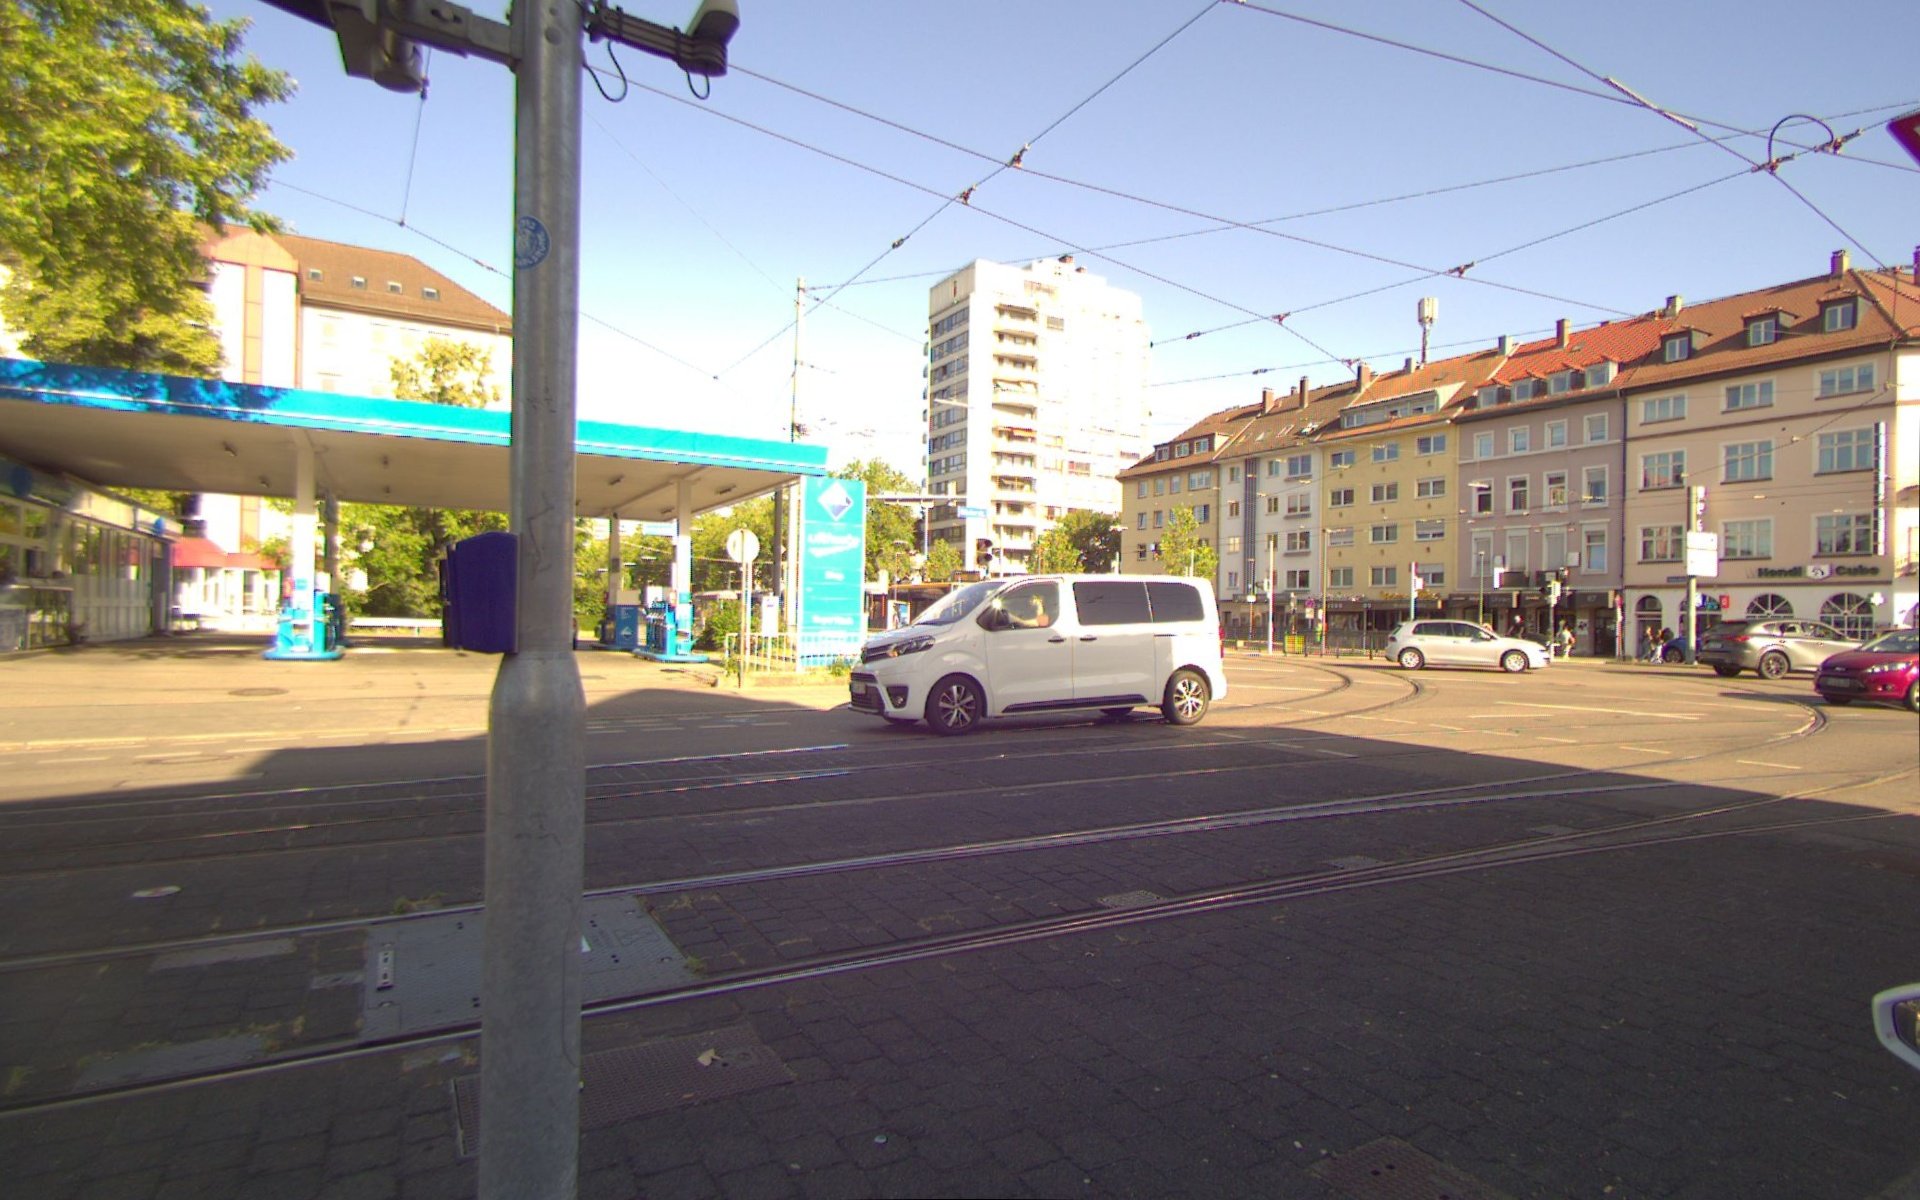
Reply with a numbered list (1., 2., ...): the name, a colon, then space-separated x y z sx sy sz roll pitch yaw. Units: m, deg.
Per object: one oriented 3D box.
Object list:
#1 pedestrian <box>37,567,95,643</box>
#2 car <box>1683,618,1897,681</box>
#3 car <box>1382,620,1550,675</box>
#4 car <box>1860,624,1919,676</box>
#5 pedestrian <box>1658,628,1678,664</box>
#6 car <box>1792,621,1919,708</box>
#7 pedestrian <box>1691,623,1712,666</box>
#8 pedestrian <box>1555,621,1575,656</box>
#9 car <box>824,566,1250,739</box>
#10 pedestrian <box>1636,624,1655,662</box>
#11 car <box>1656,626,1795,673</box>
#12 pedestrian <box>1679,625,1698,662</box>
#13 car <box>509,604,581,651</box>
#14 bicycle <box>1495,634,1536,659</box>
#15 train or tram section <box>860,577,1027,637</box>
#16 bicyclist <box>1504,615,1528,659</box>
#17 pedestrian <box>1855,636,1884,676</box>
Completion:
1. pedestrian: -20.876 0.137 23.477 0.838 1.724 0.644 2 -3 -31
2. car: 22.953 1.345 27.896 4.365 1.623 1.875 1 -1 1
3. car: 14.317 1.295 28.481 4.153 1.408 1.731 0 -1 31
4. car: 29.972 1.550 31.739 3.887 1.523 1.769 1 -1 -40
5. pedestrian: 30.906 2.004 43.858 0.550 1.512 0.489 2 0 -30
6. car: 17.310 1.123 17.874 3.807 1.445 1.595 1 0 -4
7. pedestrian: 32.139 1.923 43.542 0.670 1.847 0.523 2 0 -37
8. pedestrian: 29.816 1.899 49.493 0.609 1.670 0.581 2 0 -30
9. car: 1.013 0.628 12.849 5.143 1.878 1.989 1 -2 -24
10. pedestrian: 30.721 1.932 45.025 0.492 1.670 0.520 2 0 -30
11. car: 28.892 1.831 38.095 1.797 1.596 4.194 1 0 -7
12. pedestrian: 33.326 1.986 45.940 0.492 1.670 0.520 2 0 -30
13. car: -13.522 0.866 32.648 1.659 1.372 3.559 2 0 -31
14. bicycle: 23.540 1.977 42.587 1.731 1.044 0.619 2 0 -25
15. train or tram section: -1.575 0.317 62.088 2.821 3.179 16.611 2 0 -29
16. bicyclist: 23.561 1.577 42.591 0.606 1.814 0.619 2 0 -25
17. pedestrian: 37.934 2.325 41.898 0.805 1.615 0.665 2 0 -30
